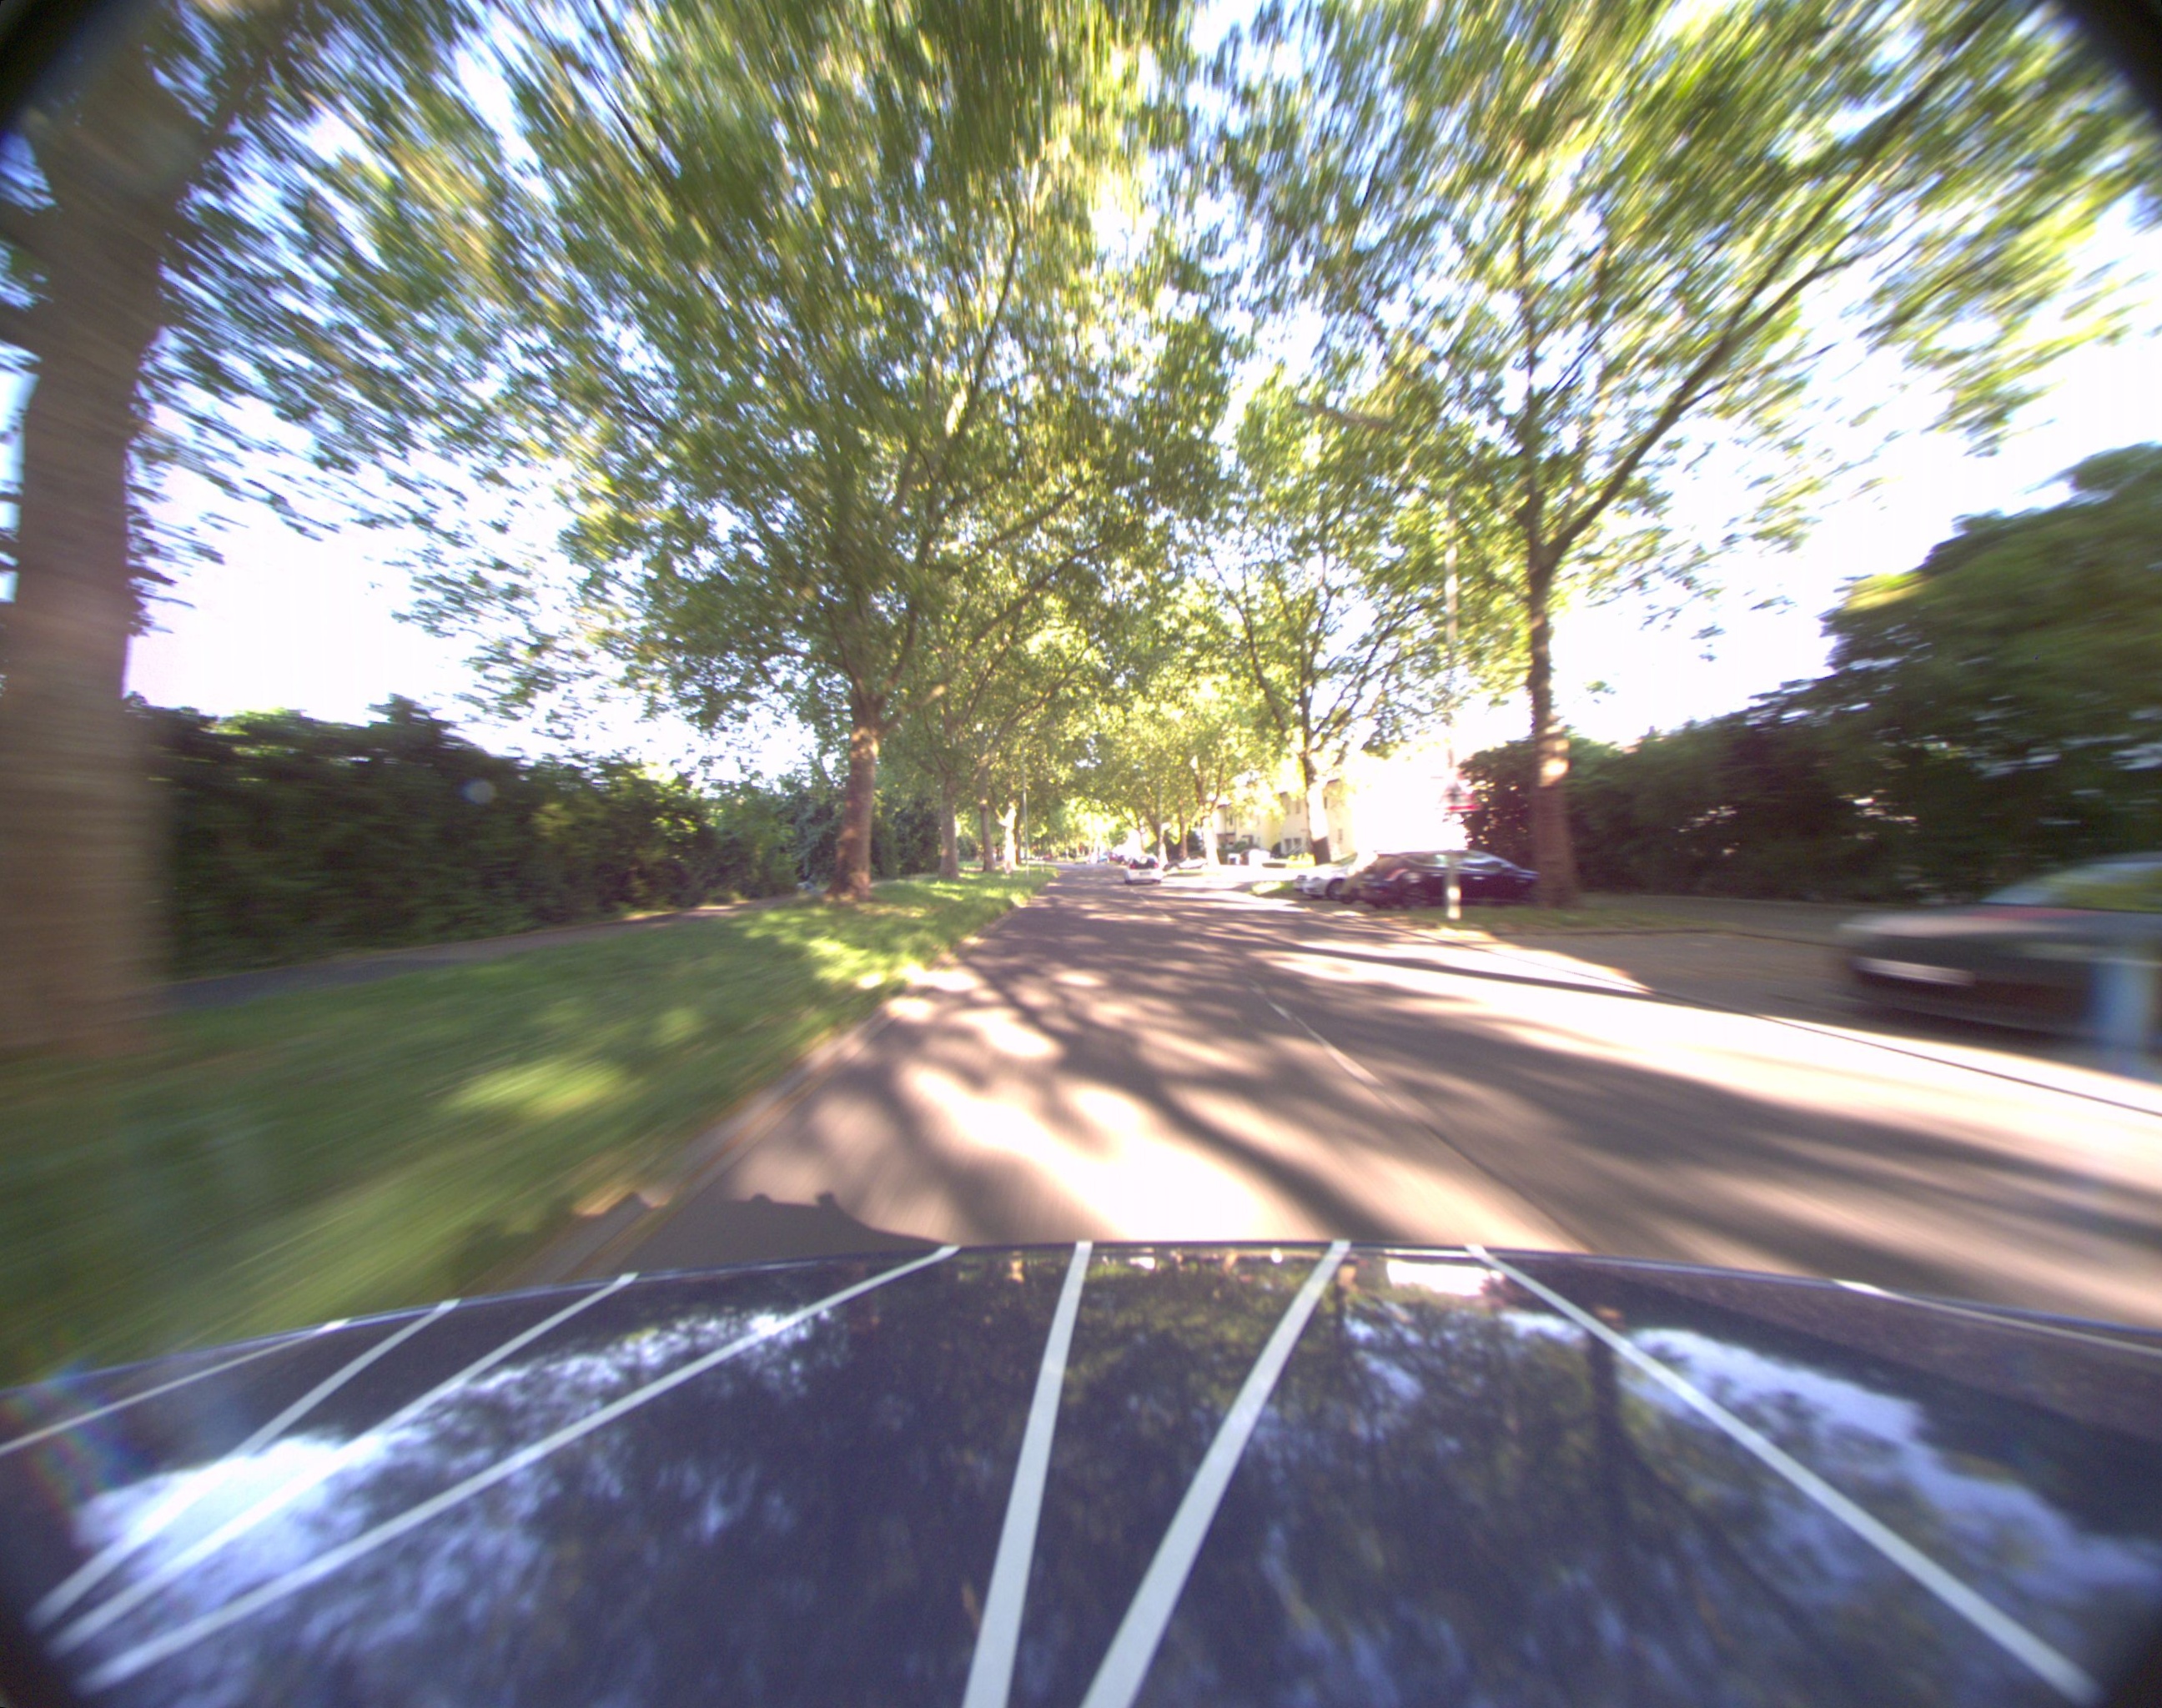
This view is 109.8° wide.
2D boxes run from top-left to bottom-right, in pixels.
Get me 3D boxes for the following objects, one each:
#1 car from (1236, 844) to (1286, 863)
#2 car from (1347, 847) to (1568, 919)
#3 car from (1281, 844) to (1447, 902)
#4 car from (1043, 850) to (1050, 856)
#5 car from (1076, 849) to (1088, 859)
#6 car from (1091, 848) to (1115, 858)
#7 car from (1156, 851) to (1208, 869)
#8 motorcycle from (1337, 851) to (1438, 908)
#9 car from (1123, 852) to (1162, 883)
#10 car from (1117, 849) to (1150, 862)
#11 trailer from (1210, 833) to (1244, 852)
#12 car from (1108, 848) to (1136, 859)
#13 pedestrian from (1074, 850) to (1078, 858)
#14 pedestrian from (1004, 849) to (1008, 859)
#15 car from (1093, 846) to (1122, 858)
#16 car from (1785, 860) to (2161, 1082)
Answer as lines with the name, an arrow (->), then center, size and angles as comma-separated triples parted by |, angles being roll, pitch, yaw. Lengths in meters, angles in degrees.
car -> 16.068, -0.058, 67.987 | 3.997, 1.455, 1.901 | -3, 0, -1
car -> 8.504, 0.627, 17.382 | 4.172, 1.497, 1.801 | -1, 1, -3
car -> 8.362, 0.524, 22.701 | 4.195, 1.575, 1.999 | -1, 1, -4
car -> -9.250, -0.235, 205.443 | 1.721, 1.492, 4.093 | -1, 1, -1
car -> 0.169, -0.013, 118.432 | 1.789, 1.504, 3.836 | -1, 2, 0
car -> 3.879, -0.101, 137.061 | 4.104, 1.706, 1.830 | -1, 1, -6
car -> 7.921, 0.437, 59.871 | 3.836, 1.308, 1.789 | -1, 1, -3
motorcycle -> 7.984, 0.650, 19.826 | 2.392, 1.380, 0.648 | -1, 1, -5
car -> 3.020, 0.642, 37.798 | 1.539, 1.450, 3.184 | -1, 0, -2
car -> 6.759, 0.157, 98.387 | 3.999, 1.509, 1.816 | -2, 1, -4
trailer -> 16.982, -1.365, 88.714 | 3.463, 1.914, 1.643 | -5, 0, -4
car -> 6.069, -0.071, 112.333 | 3.883, 1.509, 1.664 | -1, 0, -7
pedestrian -> -1.048, -0.013, 158.495 | 0.637, 1.709, 0.825 | 1, 0, -14
pedestrian -> -14.590, 0.027, 148.086 | 0.756, 1.837, 0.802 | -1, 1, -2
car -> 4.194, -0.268, 122.187 | 4.399, 1.813, 1.994 | -1, 1, -7
car -> 8.184, 0.743, 5.696 | 4.251, 1.345, 1.741 | 0, 1, -1
